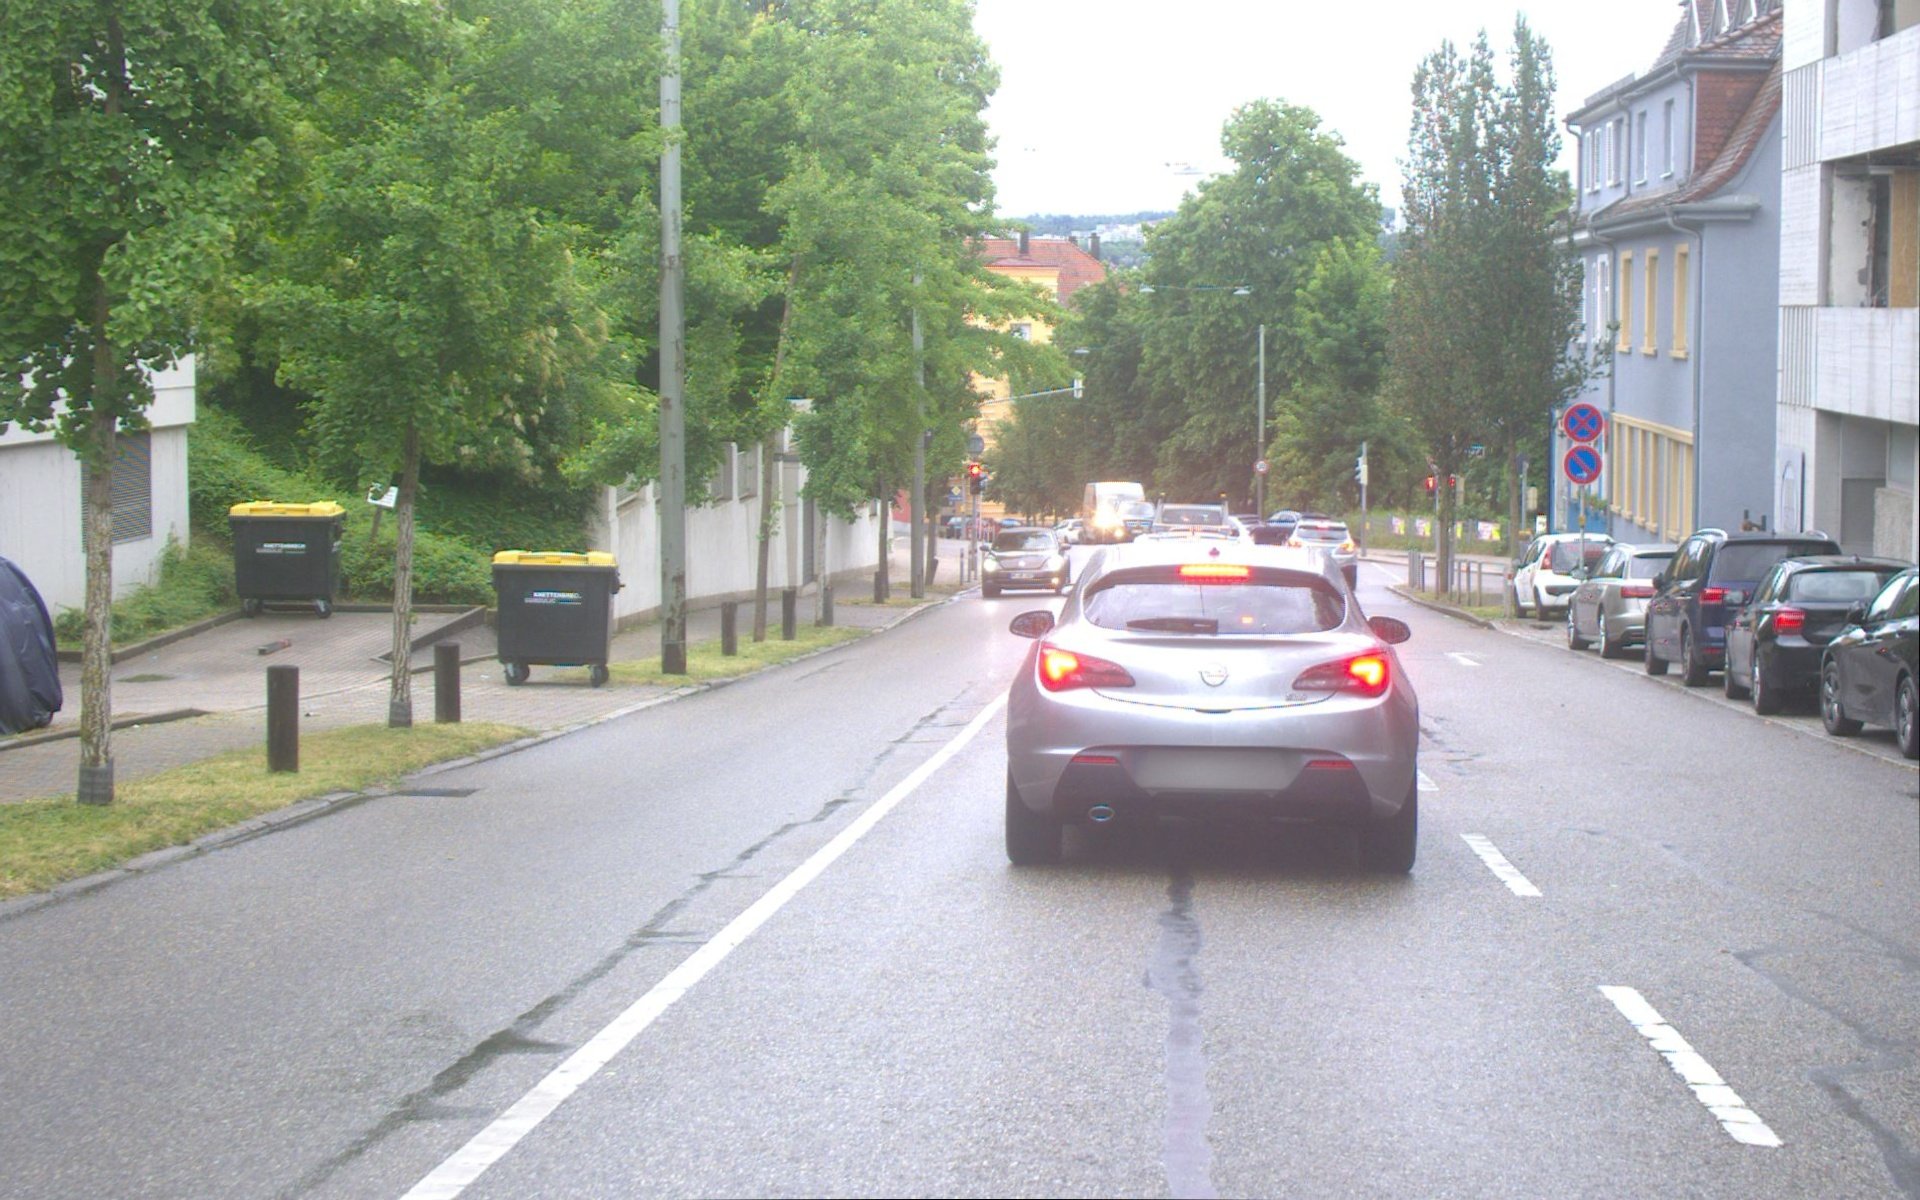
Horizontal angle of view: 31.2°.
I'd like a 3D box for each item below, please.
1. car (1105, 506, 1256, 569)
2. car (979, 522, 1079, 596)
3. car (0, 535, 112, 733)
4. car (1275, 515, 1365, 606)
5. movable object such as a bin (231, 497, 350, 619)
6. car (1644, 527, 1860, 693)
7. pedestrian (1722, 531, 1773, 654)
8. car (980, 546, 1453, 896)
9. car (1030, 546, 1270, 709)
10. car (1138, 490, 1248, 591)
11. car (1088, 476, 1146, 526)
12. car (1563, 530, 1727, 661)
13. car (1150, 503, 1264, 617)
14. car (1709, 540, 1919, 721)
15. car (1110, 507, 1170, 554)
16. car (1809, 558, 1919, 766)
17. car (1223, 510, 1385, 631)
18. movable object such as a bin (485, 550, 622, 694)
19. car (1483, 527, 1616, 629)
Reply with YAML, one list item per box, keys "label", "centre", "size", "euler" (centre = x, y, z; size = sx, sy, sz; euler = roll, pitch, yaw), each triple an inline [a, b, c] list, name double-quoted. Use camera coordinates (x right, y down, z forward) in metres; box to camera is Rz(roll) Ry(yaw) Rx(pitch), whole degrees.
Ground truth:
- label: "car"
  centre: [6.148, -1.740, 95.820]
  size: [3.852, 1.474, 1.828]
  euler: [-6, 3, -36]
- label: "car"
  centre: [1.541, -0.917, 75.357]
  size: [1.850, 1.464, 4.087]
  euler: [-3, 1, 5]
- label: "car"
  centre: [-8.068, 0.297, 26.880]
  size: [1.741, 1.451, 3.884]
  euler: [-4, 2, 2]
- label: "car"
  centre: [9.030, -1.031, 86.478]
  size: [1.994, 2.029, 4.735]
  euler: [3, 3, 4]
- label: "movable object such as a bin"
  centre: [-7.777, -0.492, 39.941]
  size: [1.272, 1.382, 0.489]
  euler: [1, 3, 2]
- label: "car"
  centre: [8.427, 0.065, 36.860]
  size: [1.686, 1.565, 4.000]
  euler: [-1, 2, 5]
- label: "pedestrian"
  centre: [11.576, -0.118, 50.525]
  size: [0.645, 1.778, 0.542]
  euler: [0, 2, 5]
- label: "car"
  centre: [1.096, 0.482, 16.484]
  size: [1.945, 1.427, 3.885]
  euler: [0, 2, 0]
- label: "car"
  centre: [1.618, 0.198, 30.530]
  size: [1.797, 1.318, 4.000]
  euler: [1, 1, -1]
- label: "car"
  centre: [5.294, -1.384, 77.976]
  size: [2.334, 2.029, 4.735]
  euler: [3, 3, 4]
- label: "car"
  centre: [6.027, -3.806, 131.671]
  size: [1.994, 1.778, 4.000]
  euler: [3, 3, 5]
- label: "car"
  centre: [8.813, -0.100, 44.491]
  size: [1.584, 1.488, 4.290]
  euler: [-1, 2, 5]
- label: "car"
  centre: [4.296, -0.734, 60.204]
  size: [1.769, 1.775, 3.977]
  euler: [3, 3, 2]
- label: "car"
  centre: [8.139, 0.237, 32.174]
  size: [1.681, 1.459, 4.000]
  euler: [-1, 2, 5]
- label: "car"
  centre: [6.522, -2.525, 124.160]
  size: [1.994, 1.530, 4.309]
  euler: [3, 3, 4]
- label: "car"
  centre: [7.718, 0.416, 26.493]
  size: [1.504, 1.430, 4.000]
  euler: [-1, 1, 3]
- label: "car"
  centre: [4.822, -0.455, 48.687]
  size: [1.961, 1.467, 3.951]
  euler: [3, 3, 2]
- label: "movable object such as a bin"
  centre: [-4.018, 0.214, 34.020]
  size: [1.272, 1.382, 0.489]
  euler: [1, 3, 2]
- label: "car"
  centre: [10.093, -0.406, 59.087]
  size: [1.907, 1.565, 4.000]
  euler: [-1, 2, 5]
